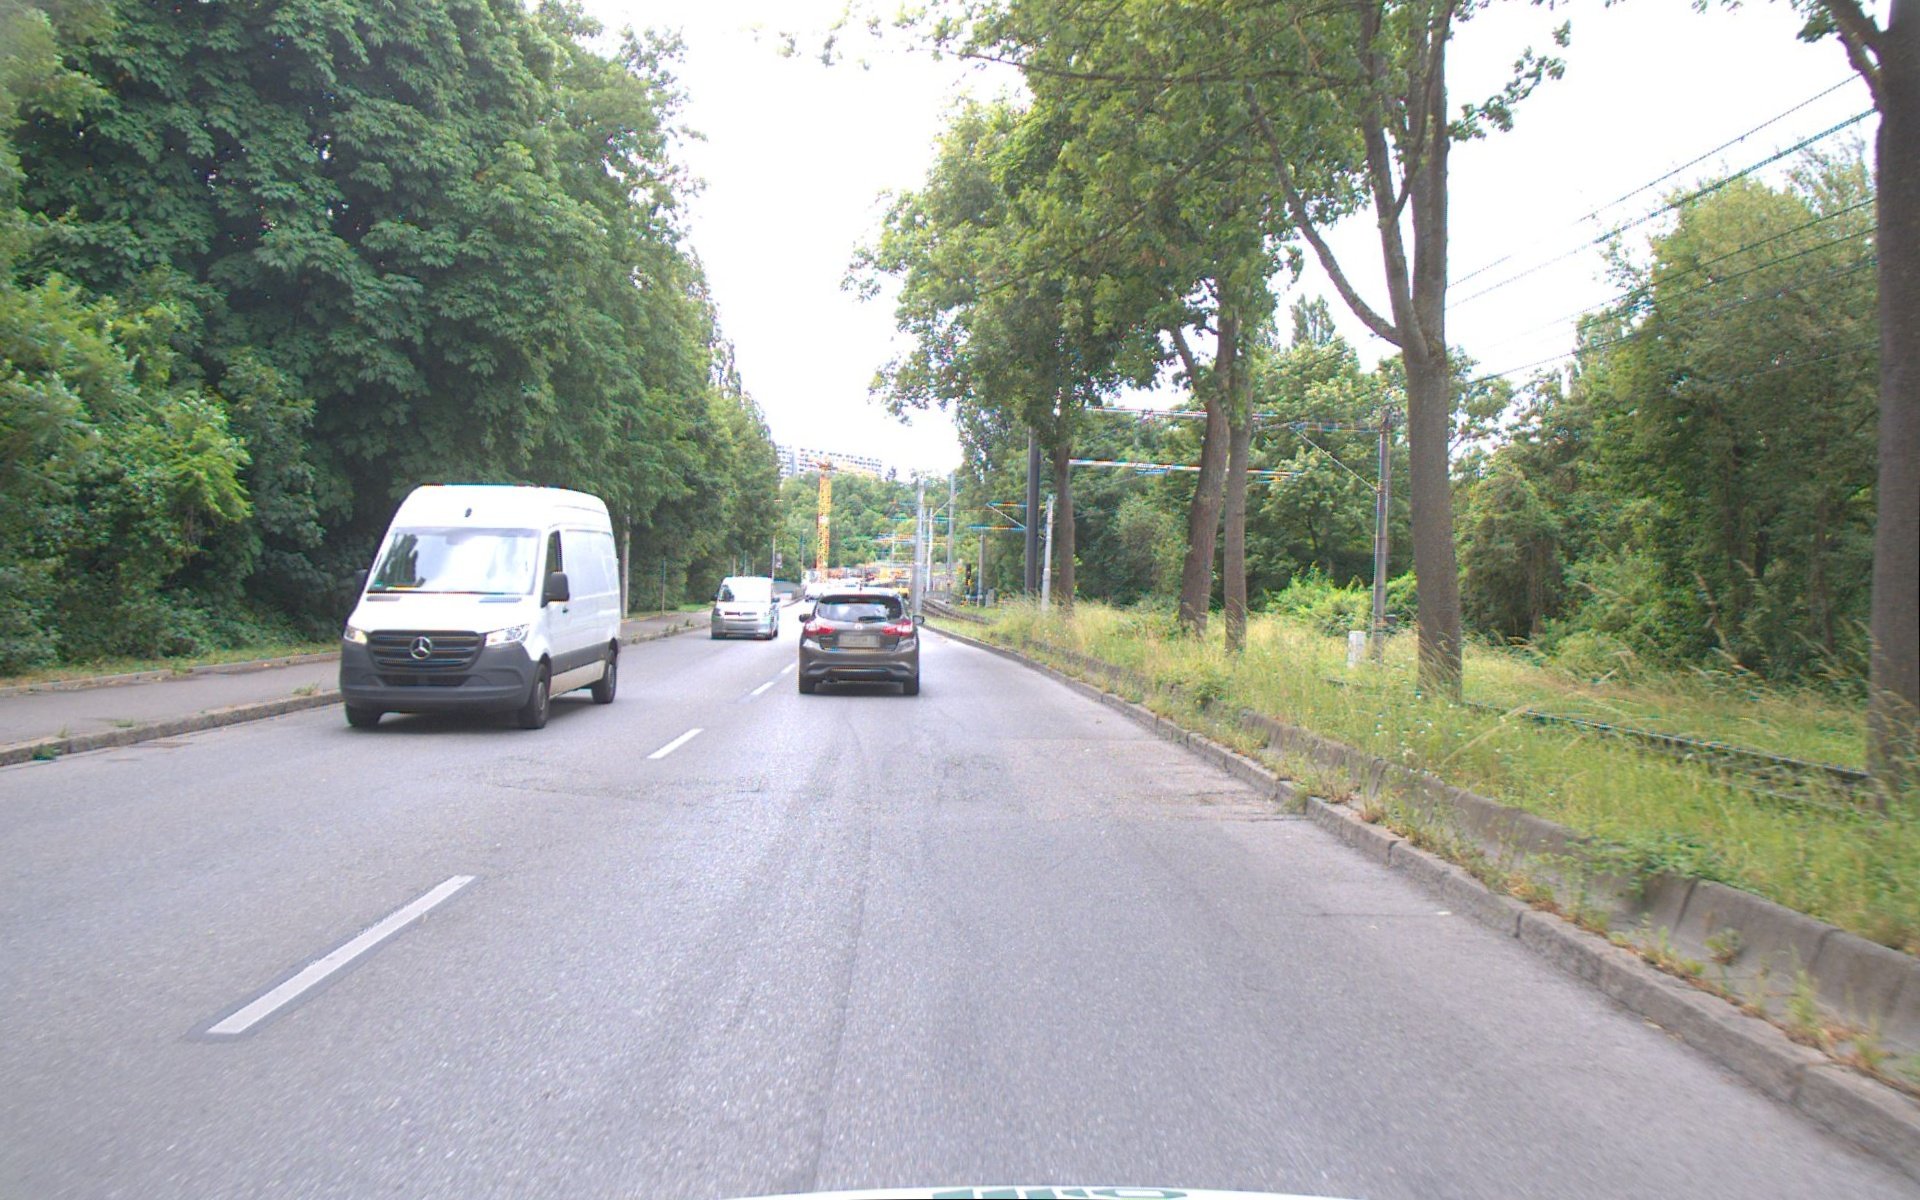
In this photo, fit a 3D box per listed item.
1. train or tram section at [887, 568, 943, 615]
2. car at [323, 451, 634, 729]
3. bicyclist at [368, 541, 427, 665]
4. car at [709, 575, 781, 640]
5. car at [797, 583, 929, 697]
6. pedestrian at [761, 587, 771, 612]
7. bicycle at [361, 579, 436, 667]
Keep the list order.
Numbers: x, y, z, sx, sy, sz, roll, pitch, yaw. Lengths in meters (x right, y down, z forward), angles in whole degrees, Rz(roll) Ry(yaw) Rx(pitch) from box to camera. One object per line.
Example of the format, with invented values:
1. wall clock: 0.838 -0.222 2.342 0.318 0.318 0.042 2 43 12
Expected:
1. train or tram section: -6.205 -0.999 221.487 2.976 5.273 22.976 3 -2 -13
2. car: -5.287 -0.118 19.114 1.953 2.672 5.893 1 0 -2
3. bicyclist: -9.247 0.046 27.208 0.673 1.982 0.834 3 -1 -8
4. car: -6.354 0.206 49.280 1.819 1.830 4.553 0 0 -4
5. car: -1.482 0.558 24.992 1.794 1.536 3.997 1 0 -4
6. pedestrian: -14.105 -0.026 120.024 0.540 1.795 0.857 5 -1 -5
7. bicycle: -9.296 0.354 27.471 0.685 1.354 2.277 3 0 -8
